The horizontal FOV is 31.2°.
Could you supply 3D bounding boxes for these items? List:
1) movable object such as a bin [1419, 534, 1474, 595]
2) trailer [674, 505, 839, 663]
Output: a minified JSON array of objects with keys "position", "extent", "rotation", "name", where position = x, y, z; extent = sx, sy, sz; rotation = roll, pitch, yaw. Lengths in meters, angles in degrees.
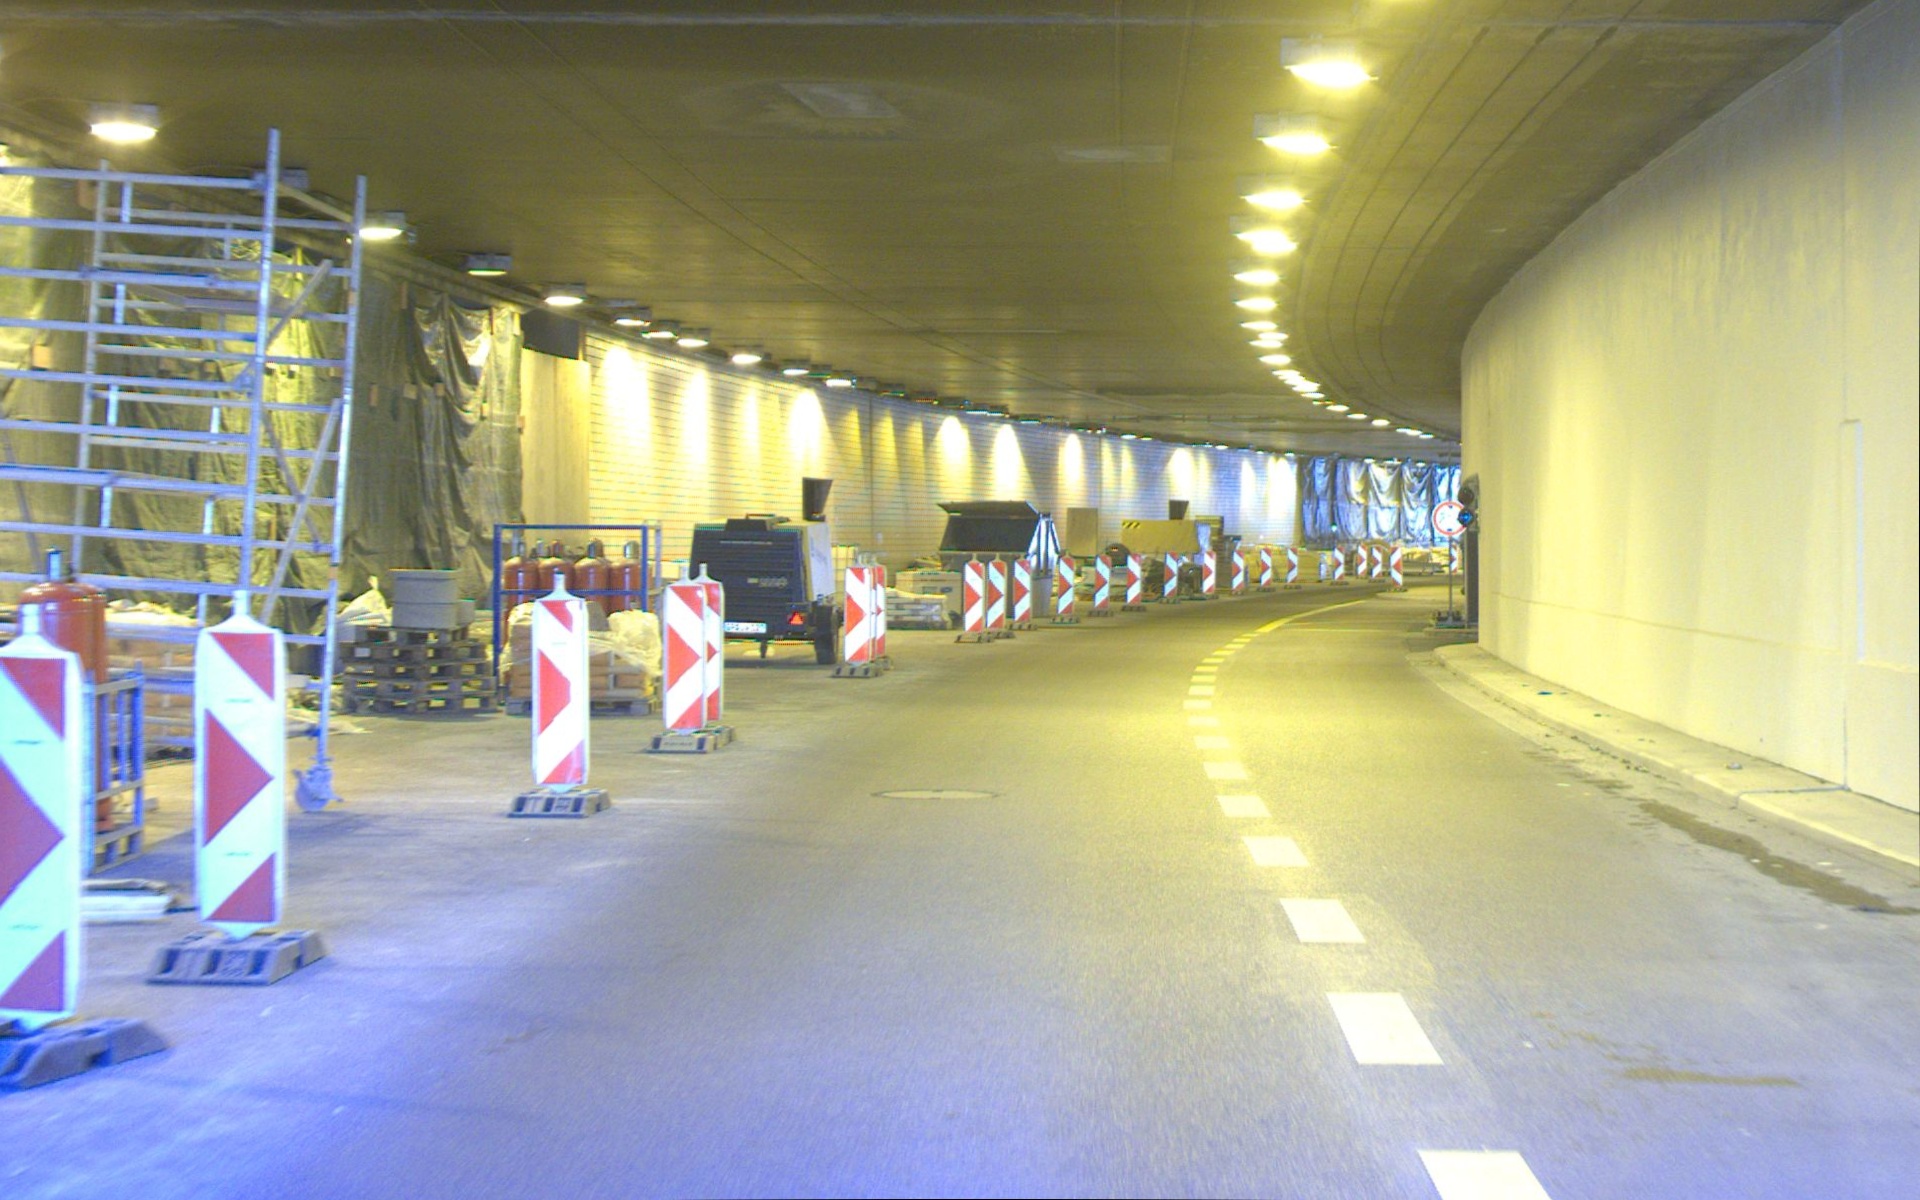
[{"position":[11.992,-0.880,84.682],"extent":[1.195,1.455,1.604],"rotation":[-2,1,12],"name":"movable object such as a bin"},{"position":[-2.395,-0.205,41.050],"extent":[1.581,1.792,2.939],"rotation":[1,1,4],"name":"trailer"}]
